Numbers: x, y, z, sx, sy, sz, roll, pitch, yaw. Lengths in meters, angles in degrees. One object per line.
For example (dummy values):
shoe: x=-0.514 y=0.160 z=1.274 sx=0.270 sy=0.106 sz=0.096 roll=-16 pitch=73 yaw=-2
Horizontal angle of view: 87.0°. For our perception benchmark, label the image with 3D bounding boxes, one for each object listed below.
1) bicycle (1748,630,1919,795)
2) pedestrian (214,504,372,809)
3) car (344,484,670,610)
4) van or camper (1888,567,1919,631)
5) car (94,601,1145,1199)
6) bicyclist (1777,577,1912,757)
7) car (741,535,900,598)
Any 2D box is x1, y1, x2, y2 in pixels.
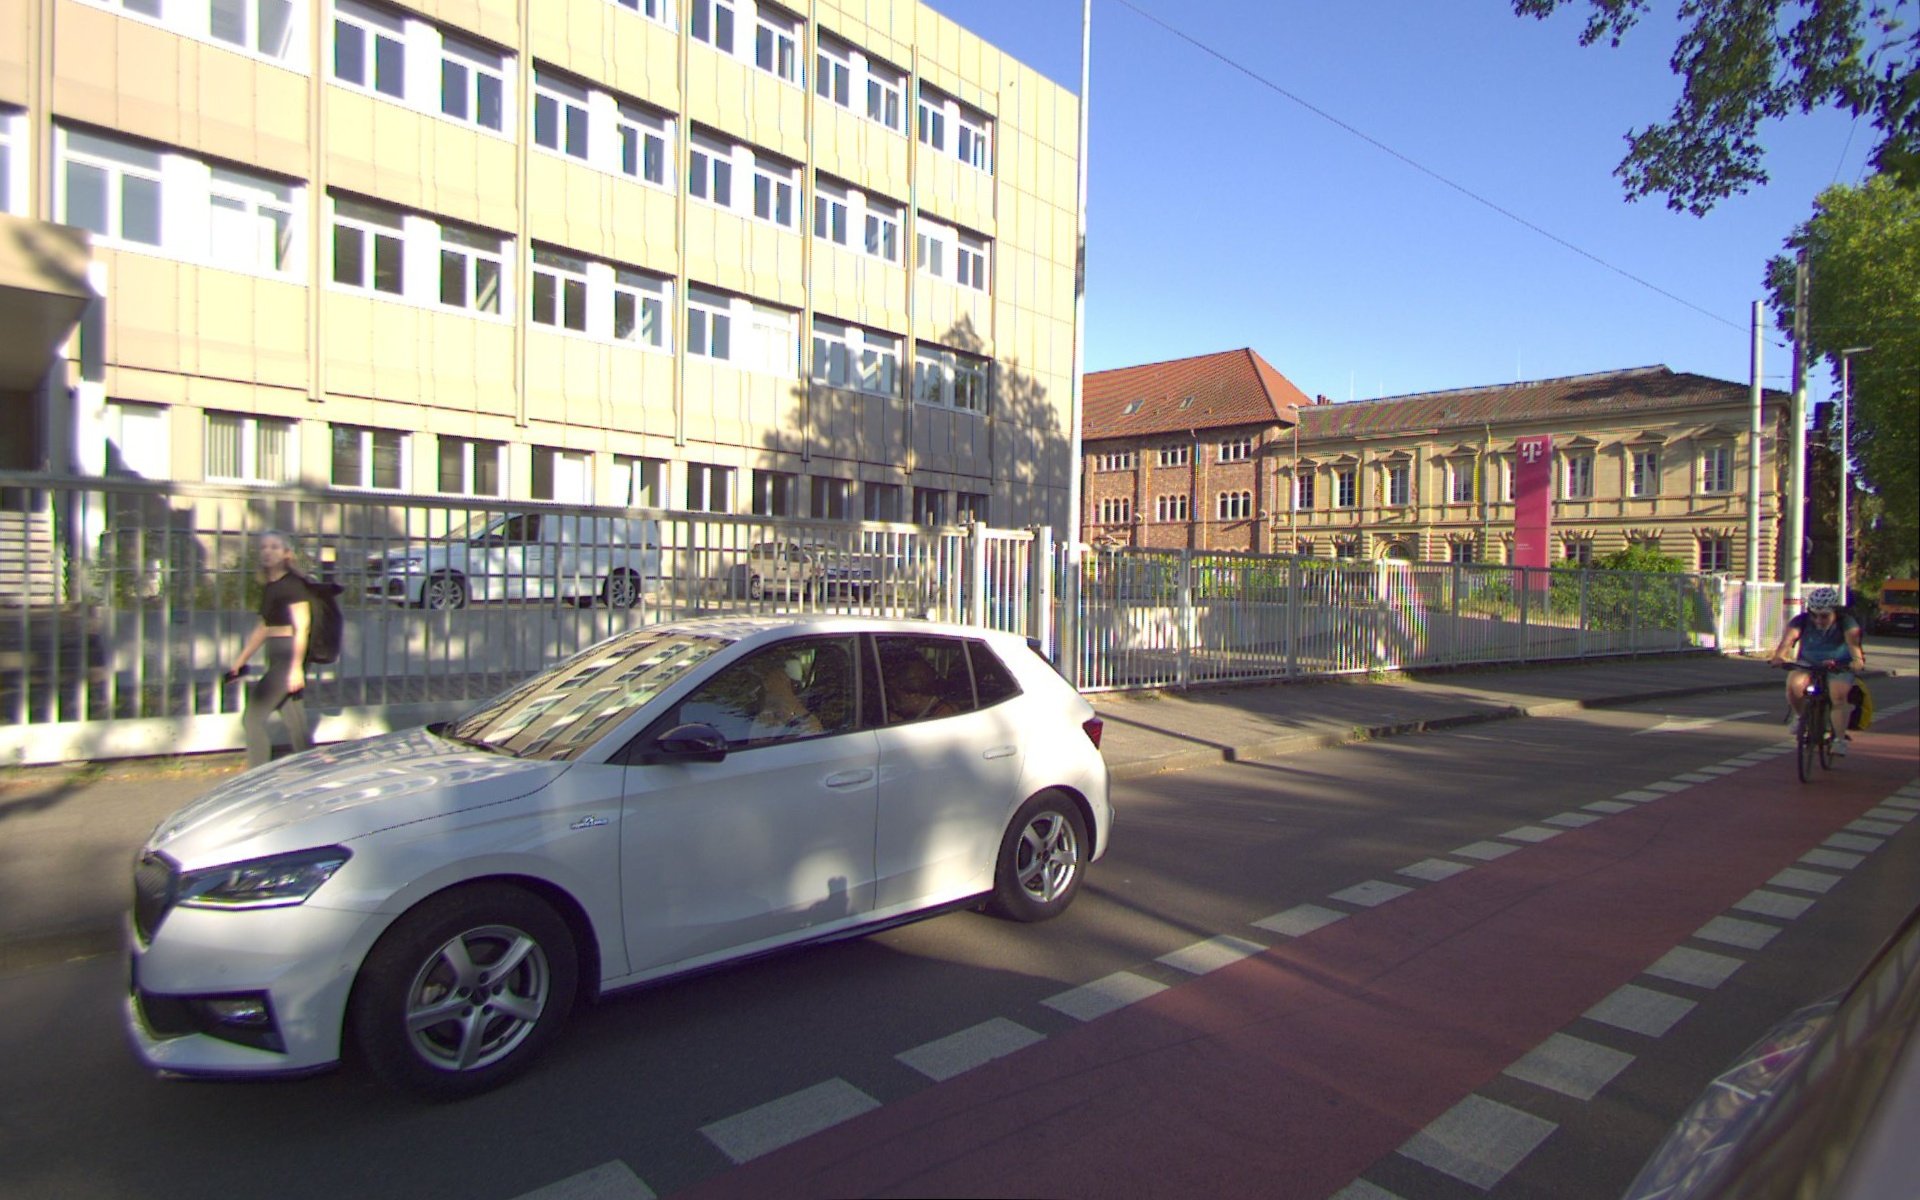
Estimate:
bicycle: x=7.524 y=0.878 z=8.617 sx=2.265 sy=1.158 sz=0.764 roll=0 pitch=1 yaw=-39
pedestrian: x=-4.209 y=0.322 z=6.383 sx=0.757 sy=1.784 sz=0.592 roll=0 pitch=1 yaw=-41
car: x=-7.593 y=-0.823 z=17.328 sx=1.994 sy=1.865 sz=4.709 roll=2 pitch=2 yaw=44
van or camper: x=41.134 y=-0.063 z=43.239 sx=1.994 sy=2.626 sz=5.537 roll=0 pitch=0 yaw=44
car: x=-1.107 y=0.724 z=4.399 sx=4.005 sy=1.406 sz=1.703 roll=0 pitch=0 yaw=-42
bicyclist: x=7.540 y=0.528 z=8.629 sx=0.844 sy=1.440 sz=0.727 roll=0 pitch=0 yaw=-38
car: x=-3.931 y=-0.921 z=27.993 sx=4.563 sy=1.601 sz=1.968 roll=2 pitch=2 yaw=44
